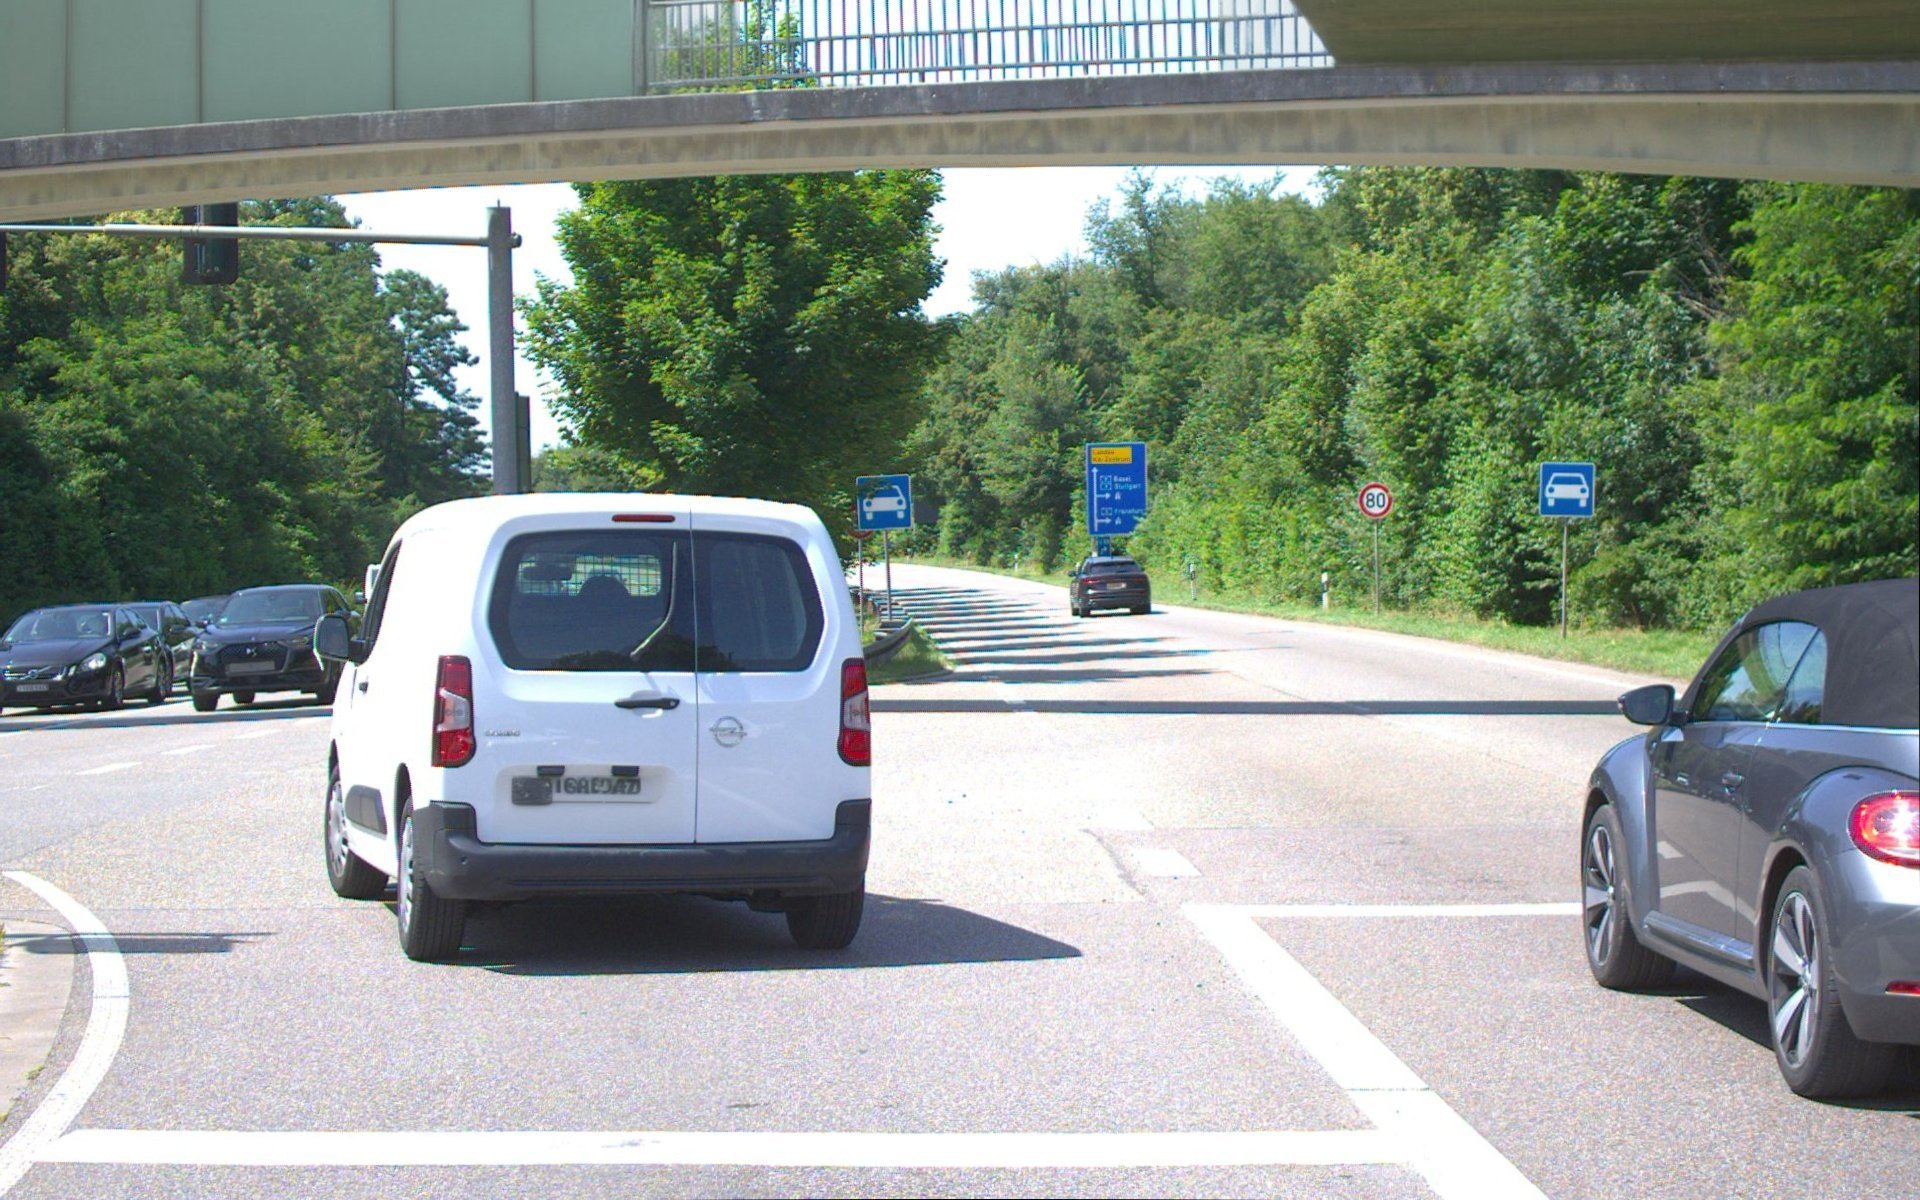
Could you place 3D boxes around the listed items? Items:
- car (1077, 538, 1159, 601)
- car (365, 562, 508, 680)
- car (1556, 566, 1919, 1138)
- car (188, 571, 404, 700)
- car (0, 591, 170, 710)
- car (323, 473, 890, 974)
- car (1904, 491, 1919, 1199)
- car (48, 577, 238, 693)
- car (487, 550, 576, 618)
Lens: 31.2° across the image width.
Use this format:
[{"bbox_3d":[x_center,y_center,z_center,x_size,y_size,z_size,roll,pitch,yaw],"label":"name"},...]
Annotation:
[{"bbox_3d":[4.417,-0.888,96.750,2.042,1.693,5.086,-1,1,0],"label":"car"},{"bbox_3d":[-9.571,0.356,63.220,2.208,1.986,5.489,-2,1,-5],"label":"car"},{"bbox_3d":[3.218,0.644,10.898,1.900,1.473,3.939,1,1,-1],"label":"car"},{"bbox_3d":[-8.391,0.416,43.791,1.993,1.518,4.028,-1,0,-1],"label":"car"},{"bbox_3d":[-12.130,0.661,46.385,2.008,1.455,4.055,-2,1,-1],"label":"car"},{"bbox_3d":[-1.646,0.433,14.629,1.848,1.819,3.982,0,0,-14],"label":"car"},{"bbox_3d":[3.000,0.633,4.940,1.900,1.639,4.520,1,1,-2],"label":"car"},{"bbox_3d":[-12.554,0.505,53.082,1.993,1.659,4.000,-1,1,-1],"label":"car"},{"bbox_3d":[-13.351,-0.501,107.364,2.208,1.986,4.734,-2,1,-1],"label":"car"}]
